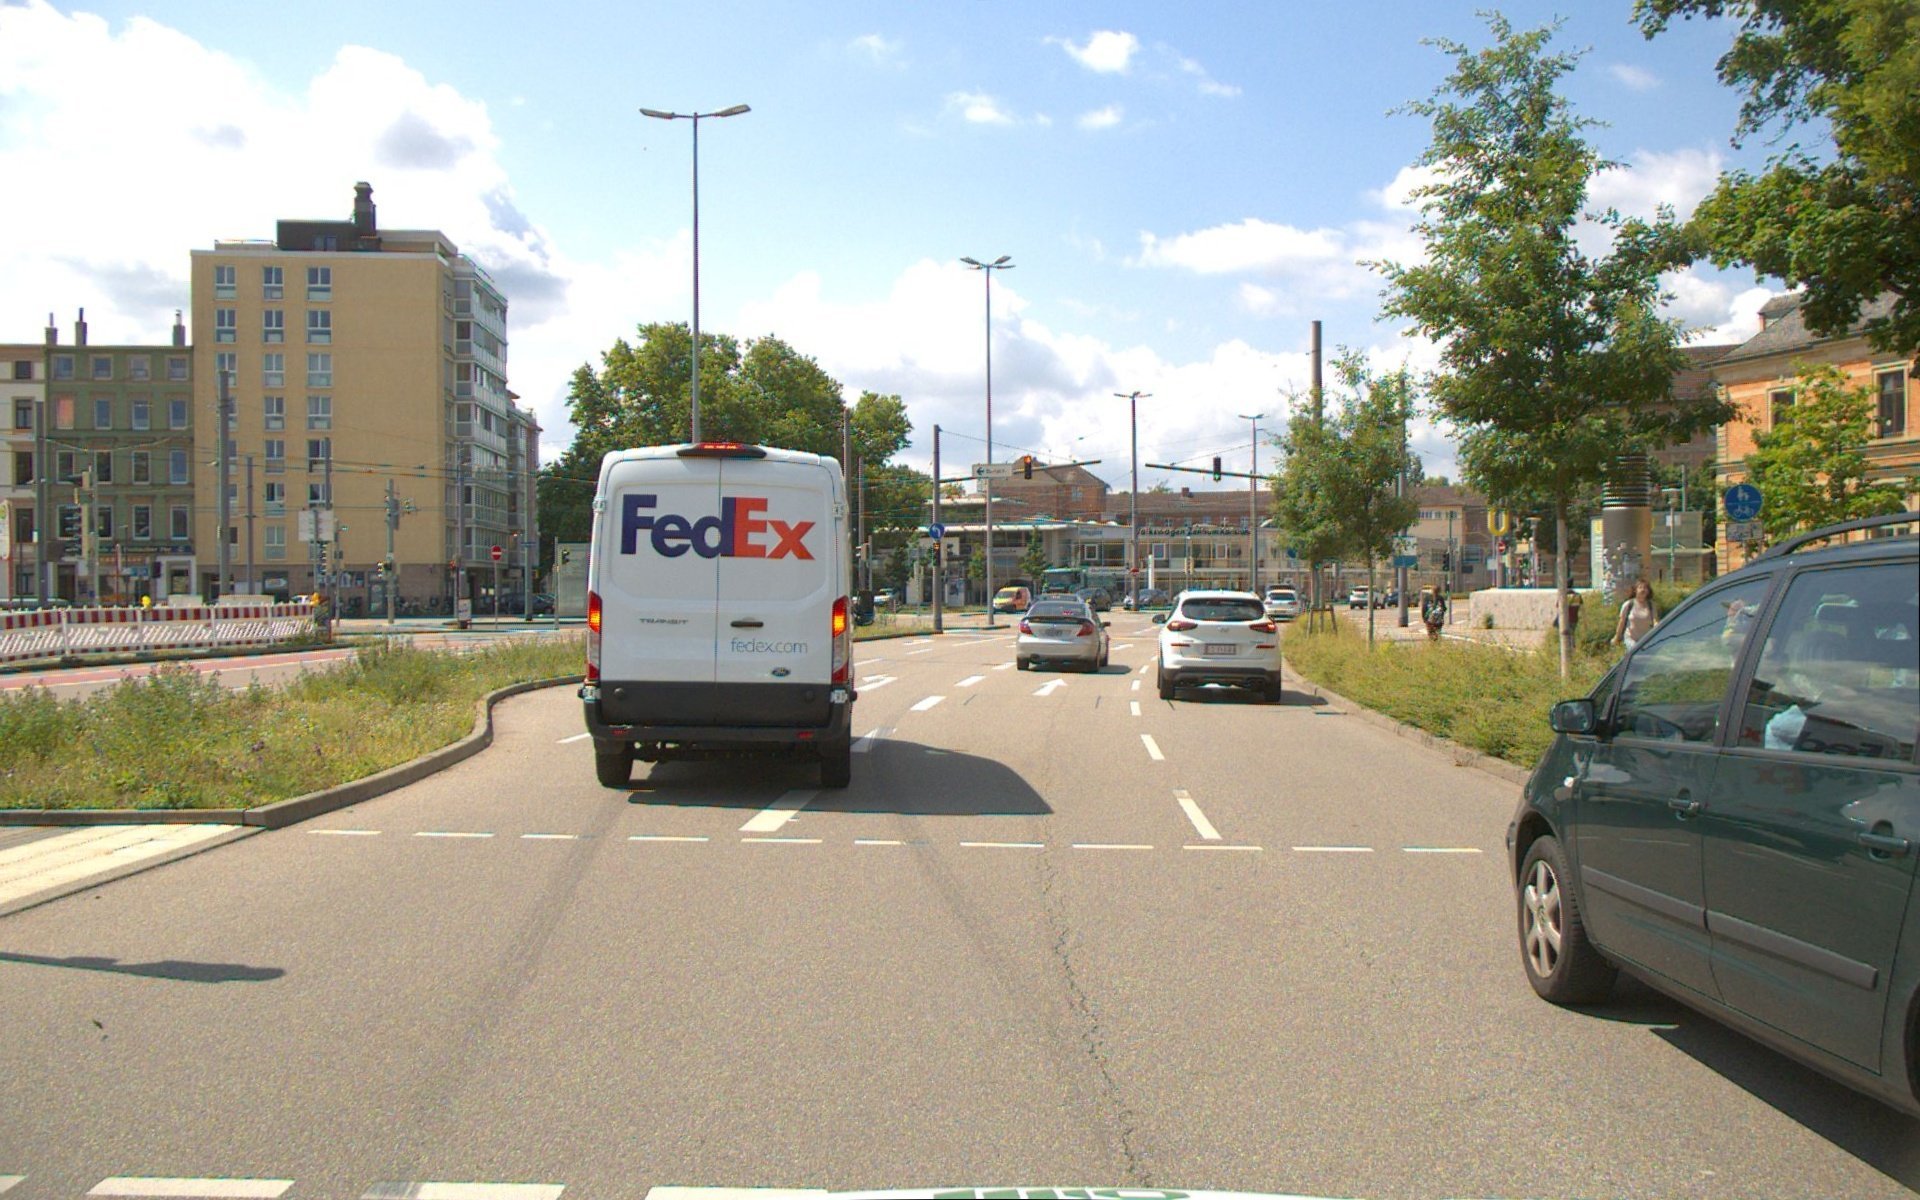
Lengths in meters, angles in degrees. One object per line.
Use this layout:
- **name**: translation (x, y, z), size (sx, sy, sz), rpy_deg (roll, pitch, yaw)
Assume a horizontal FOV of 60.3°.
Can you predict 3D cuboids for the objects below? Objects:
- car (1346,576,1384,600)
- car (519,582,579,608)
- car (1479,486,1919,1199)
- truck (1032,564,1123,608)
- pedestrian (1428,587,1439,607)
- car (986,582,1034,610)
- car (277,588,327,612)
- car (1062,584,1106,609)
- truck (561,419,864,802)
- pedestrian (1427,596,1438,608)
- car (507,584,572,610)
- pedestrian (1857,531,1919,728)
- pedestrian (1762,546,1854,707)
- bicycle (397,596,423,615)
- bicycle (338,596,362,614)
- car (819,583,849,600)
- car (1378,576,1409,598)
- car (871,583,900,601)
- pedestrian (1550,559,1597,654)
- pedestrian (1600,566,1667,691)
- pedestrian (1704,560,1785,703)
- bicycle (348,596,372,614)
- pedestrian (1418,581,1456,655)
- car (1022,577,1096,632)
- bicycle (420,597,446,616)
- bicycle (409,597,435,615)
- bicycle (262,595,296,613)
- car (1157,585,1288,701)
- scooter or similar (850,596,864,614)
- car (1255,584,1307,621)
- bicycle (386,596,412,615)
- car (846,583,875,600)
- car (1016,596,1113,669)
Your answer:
- **car**: translation (28.666, -0.874, 117.026), size (1.844, 1.670, 3.953), rpy_deg (0, 1, 26)
- **car**: translation (-30.551, -0.384, 122.994), size (4.017, 1.891, 1.982), rpy_deg (1, 0, -5)
- **car**: translation (3.107, 0.605, 4.868), size (1.757, 1.753, 4.448), rpy_deg (0, 0, 0)
- **truck**: translation (8.083, -0.980, 112.446), size (2.830, 2.902, 8.781), rpy_deg (0, 1, 28)
- **pedestrian**: translation (35.879, -0.208, 125.311), size (0.679, 1.483, 0.679), rpy_deg (0, -1, 26)
- **car**: translation (3.506, -0.266, 114.572), size (1.683, 1.832, 4.739), rpy_deg (-1, 0, 24)
- **car**: translation (-38.825, 0.008, 97.536), size (1.645, 1.344, 3.303), rpy_deg (-1, 1, -43)
- **car**: translation (7.967, -0.240, 105.860), size (1.619, 1.494, 4.154), rpy_deg (0, 1, 21)
- **truck**: translation (-1.914, 0.070, 14.641), size (2.094, 2.686, 5.913), rpy_deg (1, 0, -3)
- **pedestrian**: translation (35.799, 0.153, 125.265), size (0.514, 0.922, 1.560), rpy_deg (0, 0, 26)
- **car**: translation (-28.751, -0.198, 113.152), size (4.022, 1.694, 1.867), rpy_deg (1, 0, -4)
- **pedestrian**: translation (9.354, 0.263, 16.035), size (0.742, 1.852, 0.778), rpy_deg (-4, 0, -11)
- **pedestrian**: translation (9.999, 0.309, 19.512), size (0.741, 1.853, 0.637), rpy_deg (1, -1, -5)
- **bicycle**: translation (-35.271, 0.364, 106.133), size (2.094, 1.167, 0.509), rpy_deg (0, -1, 39)
- **bicycle**: translation (-38.948, 0.325, 105.598), size (2.096, 1.167, 0.508), rpy_deg (0, -1, 42)
- **car**: translation (-12.052, -0.829, 158.682), size (1.951, 1.601, 4.181), rpy_deg (1, 0, 8)
- **car**: translation (33.520, -0.994, 127.826), size (1.843, 1.670, 3.957), rpy_deg (0, 1, 22)
- **car**: translation (-7.103, -0.772, 157.594), size (1.951, 1.601, 4.181), rpy_deg (1, 0, 8)
- **pedestrian**: translation (12.083, 0.133, 32.596), size (0.740, 1.853, 0.674), rpy_deg (1, -1, 8)
- **pedestrian**: translation (9.280, 0.389, 22.816), size (0.636, 1.654, 0.775), rpy_deg (-3, -1, 10)
- **pedestrian**: translation (9.285, 0.365, 19.585), size (0.576, 1.654, 0.727), rpy_deg (1, -1, -5)
- **bicycle**: translation (-38.419, 0.327, 105.854), size (2.096, 1.167, 0.508), rpy_deg (0, -1, 42)
- **pedestrian**: translation (10.604, 0.392, 36.782), size (0.739, 1.617, 0.762), rpy_deg (1, -1, 10)
- **car**: translation (3.264, 0.104, 53.623), size (1.887, 1.670, 4.797), rpy_deg (0, 1, 10)
- **bicycle**: translation (-34.048, 0.409, 106.761), size (2.094, 1.167, 0.509), rpy_deg (0, -1, 39)
- **bicycle**: translation (-34.591, 0.387, 106.408), size (2.094, 1.167, 0.531), rpy_deg (0, -1, 39)
- **bicycle**: translation (-43.428, 0.253, 105.517), size (1.901, 1.167, 0.527), rpy_deg (1, -1, 0)
- **car**: translation (4.116, 0.621, 26.451), size (1.841, 1.670, 4.236), rpy_deg (0, 1, 6)
- **scooter or similar**: translation (-6.731, 0.312, 108.067), size (0.371, 1.135, 1.093), rpy_deg (0, -1, 30)
- **car**: translation (15.192, 0.116, 78.175), size (1.842, 1.670, 3.958), rpy_deg (0, 1, 20)
- **bicycle**: translation (-35.894, 0.363, 105.821), size (2.094, 1.167, 0.509), rpy_deg (0, -1, 39)
- **car**: translation (-9.475, -0.797, 158.266), size (1.951, 1.601, 4.181), rpy_deg (1, 0, 8)
- **car**: translation (2.256, 0.640, 34.711), size (1.704, 1.416, 4.183), rpy_deg (-1, 0, 8)
